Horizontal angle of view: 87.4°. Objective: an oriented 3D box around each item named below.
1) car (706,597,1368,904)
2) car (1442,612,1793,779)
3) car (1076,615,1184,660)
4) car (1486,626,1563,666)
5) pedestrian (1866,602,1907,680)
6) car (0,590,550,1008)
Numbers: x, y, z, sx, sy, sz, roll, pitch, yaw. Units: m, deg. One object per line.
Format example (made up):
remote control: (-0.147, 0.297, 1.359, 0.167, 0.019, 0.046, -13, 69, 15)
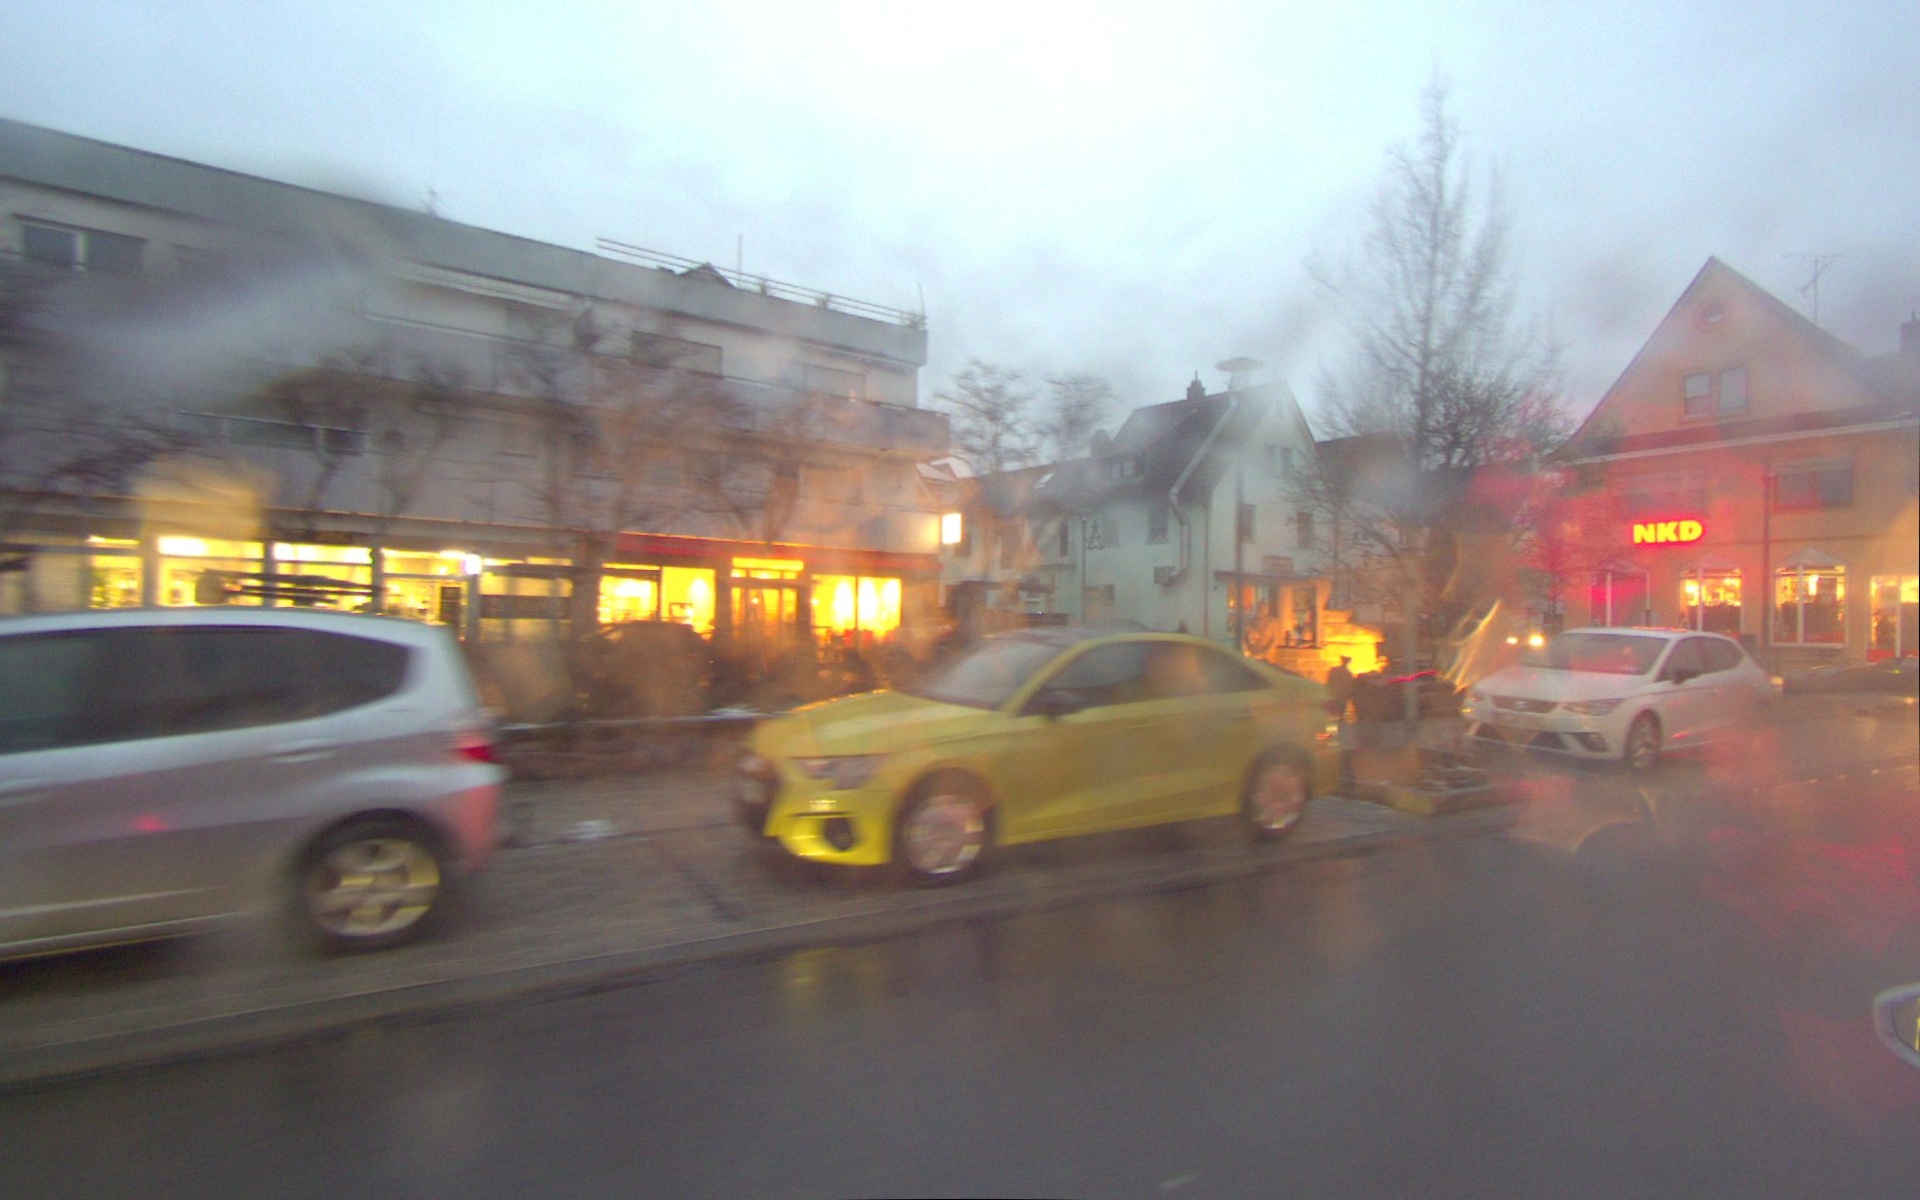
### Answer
car: (0.616, 0.811, 6.919, 4.289, 1.536, 1.741, 1, 1, -29)
car: (7.402, 0.957, 11.245, 3.953, 1.536, 1.662, 1, 1, -30)
car: (6.389, 1.384, 37.986, 1.604, 1.539, 3.855, 2, -1, -43)
car: (26.732, 2.157, 47.515, 3.966, 1.743, 1.834, 2, -1, -39)
pedestrian: (21.427, 0.945, 23.242, 0.678, 1.765, 0.583, 1, -1, -37)
car: (-3.962, 0.736, 4.451, 3.732, 1.536, 1.682, 1, 0, -33)
